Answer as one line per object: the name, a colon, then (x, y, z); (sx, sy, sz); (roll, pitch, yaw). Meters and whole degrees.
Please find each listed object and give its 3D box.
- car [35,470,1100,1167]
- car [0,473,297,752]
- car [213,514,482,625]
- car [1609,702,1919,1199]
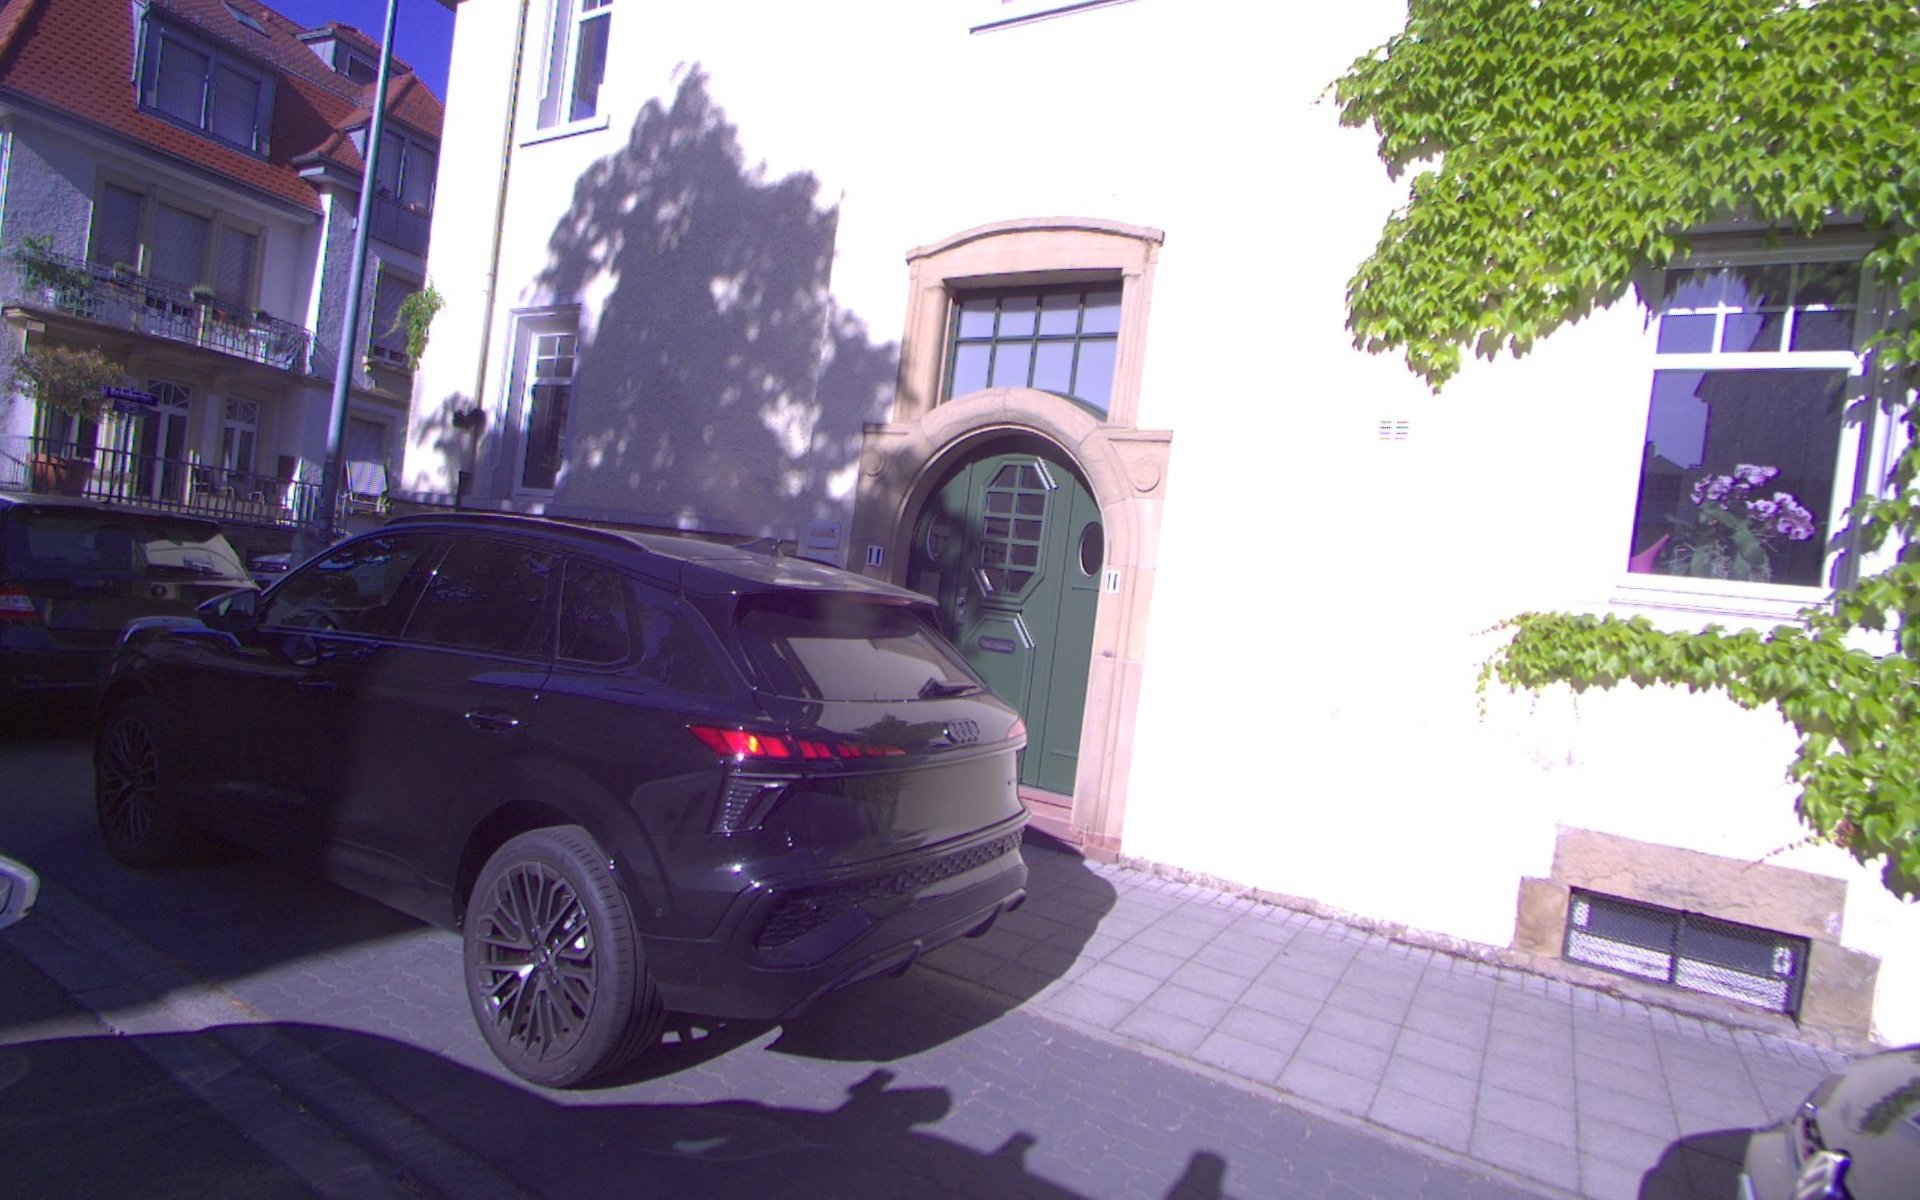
car: (-1.818, 0.414, 4.183); (4.294, 1.539, 1.793); (6, 0, 31)
car: (-6.693, -0.052, 7.066); (3.933, 1.539, 1.665); (6, 0, 28)
car: (-11.599, -0.515, 19.346); (1.761, 1.609, 3.996); (5, -2, 28)
car: (3.065, 1.116, 0.797); (4.123, 1.454, 1.710); (6, 1, 31)
